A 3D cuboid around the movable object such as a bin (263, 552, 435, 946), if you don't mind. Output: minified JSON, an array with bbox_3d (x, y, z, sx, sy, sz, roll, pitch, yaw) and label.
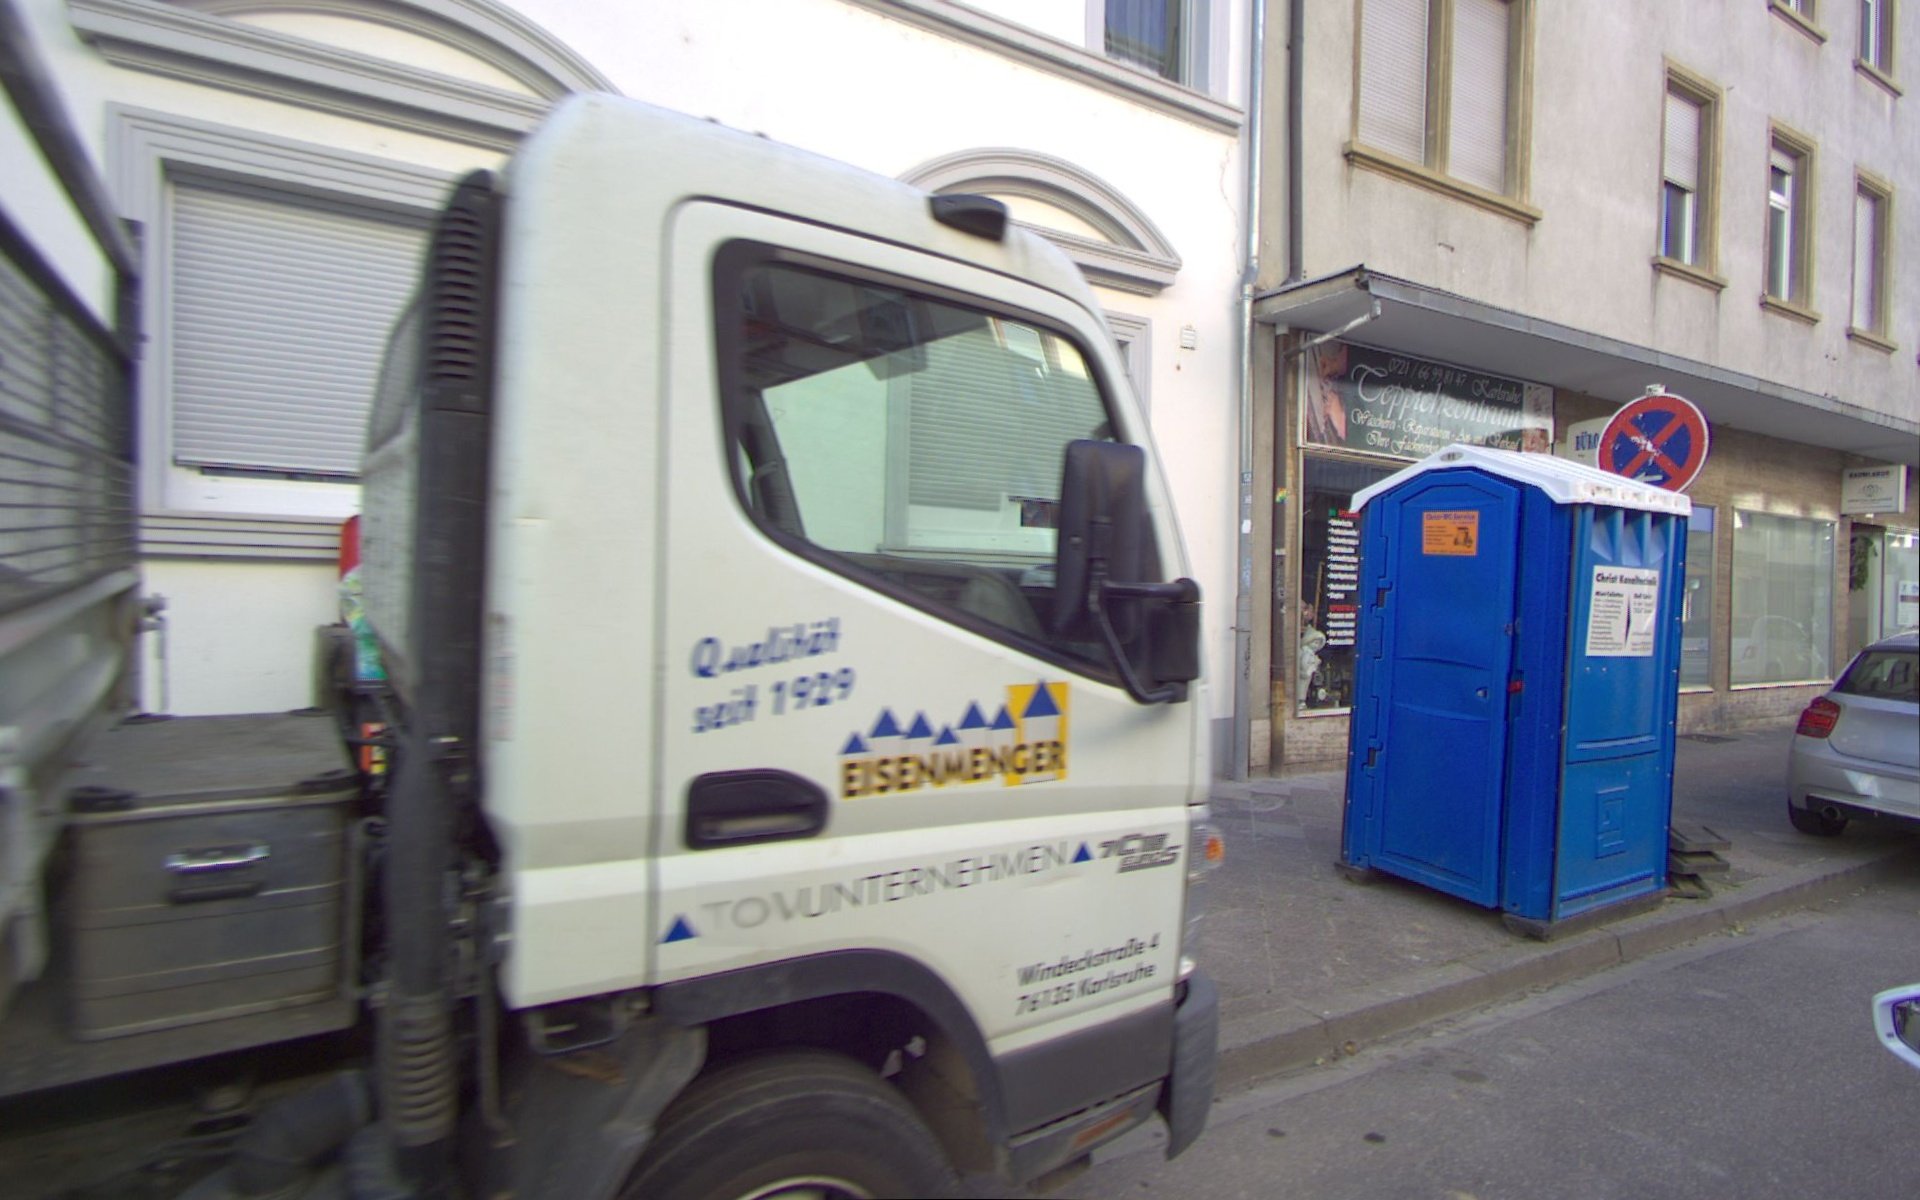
[{"bbox_3d":[-2.642,0.592,4.386,0.580,1.553,0.636,1,0,-30],"label":"movable object such as a bin"}]

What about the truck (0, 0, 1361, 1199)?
[{"bbox_3d":[-2.361,0.154,1.148,6.187,2.625,2.142,2,1,-35],"label":"truck"}]

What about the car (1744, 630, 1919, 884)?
[{"bbox_3d":[7.121,0.915,6.686,3.955,1.434,1.749,1,-2,-32],"label":"car"}]
